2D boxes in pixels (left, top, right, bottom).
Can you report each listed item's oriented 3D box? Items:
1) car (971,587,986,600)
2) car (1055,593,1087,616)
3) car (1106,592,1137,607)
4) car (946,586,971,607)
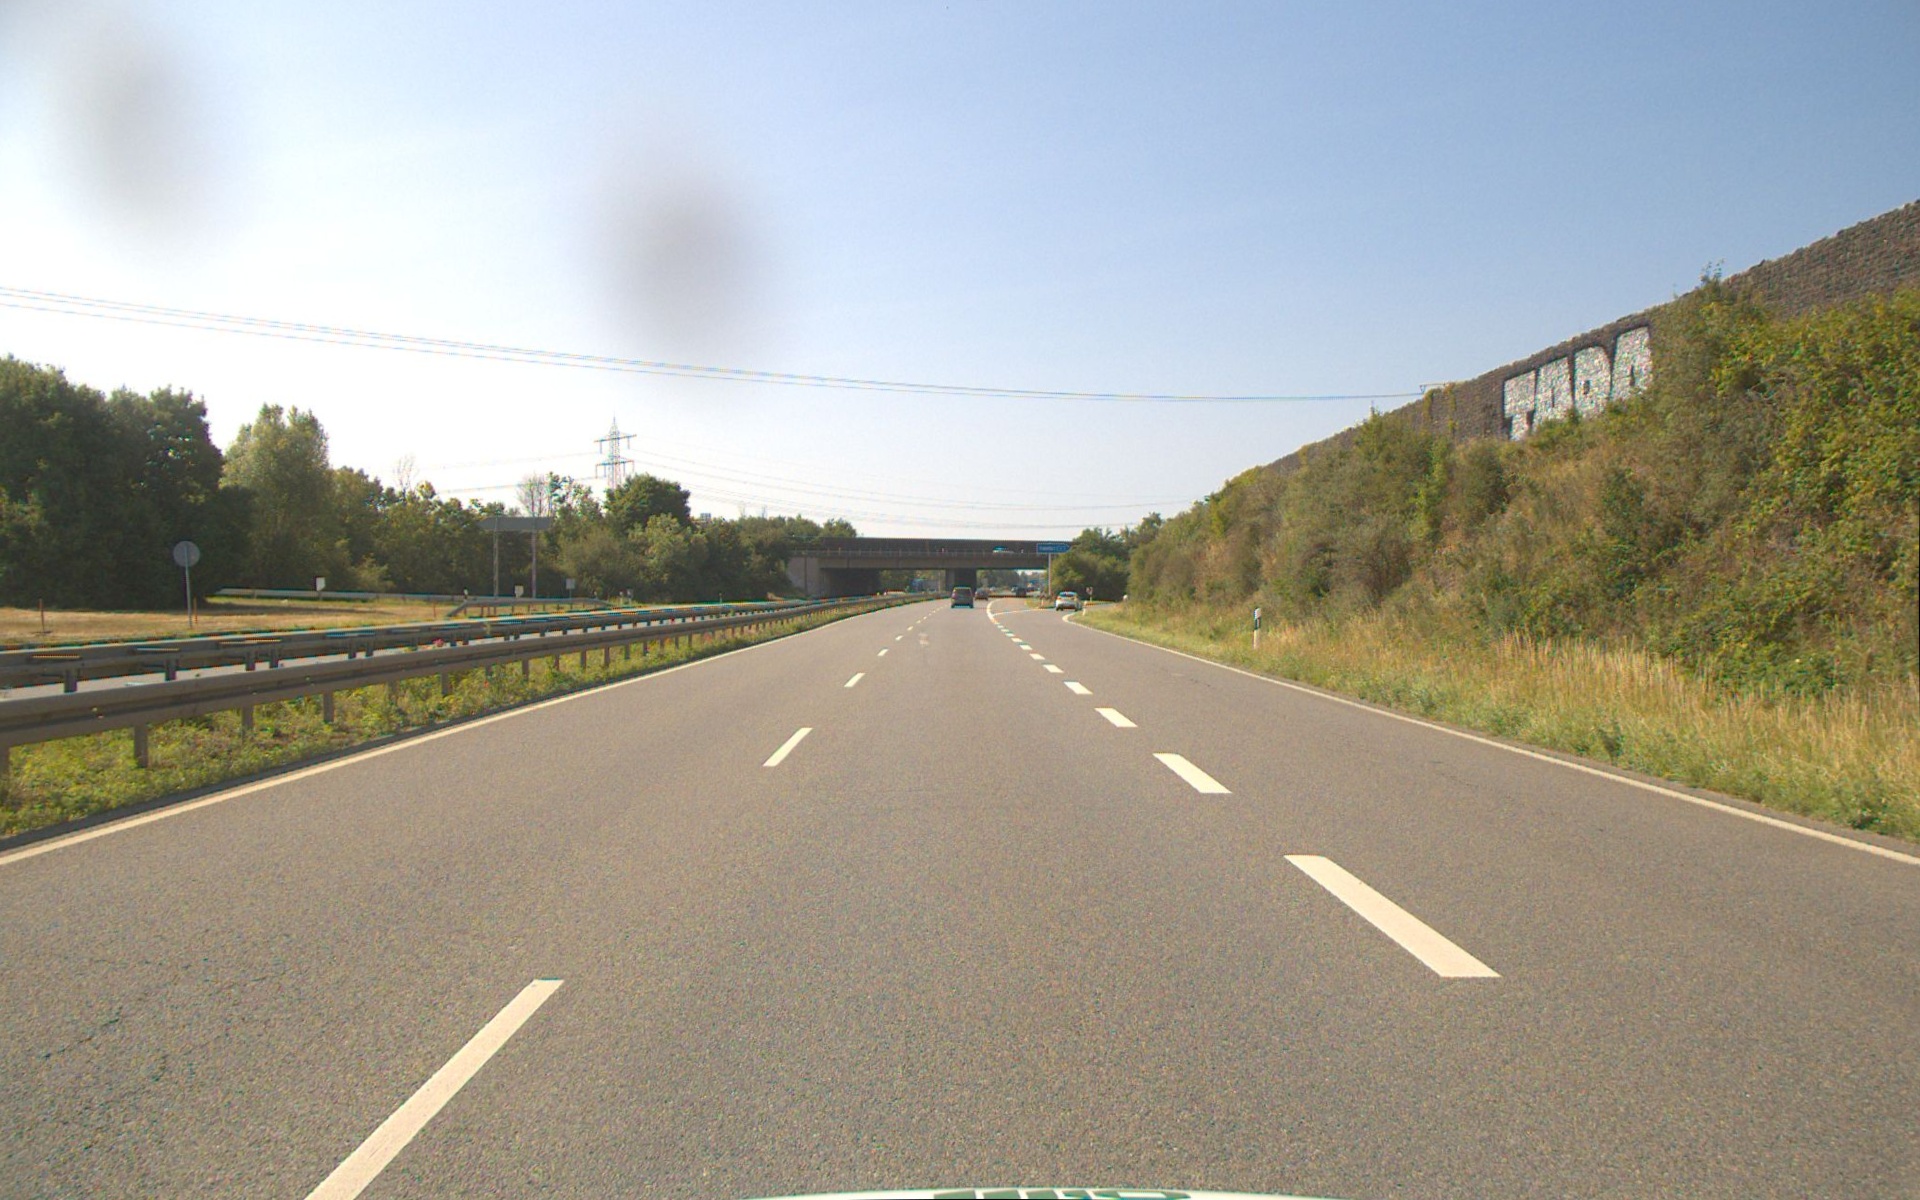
[{"bbox_3d":[2.436,-0.796,213.604,1.811,1.673,4.001,1,0,2],"label":"car"},{"bbox_3d":[8.684,0.340,129.138,1.758,1.694,4.003,3,1,15],"label":"car"},{"bbox_3d":[15.474,-0.056,158.467,1.863,1.320,4.000,3,1,21],"label":"car"},{"bbox_3d":[-0.112,-0.302,133.493,1.811,1.673,4.001,1,0,2],"label":"car"}]
